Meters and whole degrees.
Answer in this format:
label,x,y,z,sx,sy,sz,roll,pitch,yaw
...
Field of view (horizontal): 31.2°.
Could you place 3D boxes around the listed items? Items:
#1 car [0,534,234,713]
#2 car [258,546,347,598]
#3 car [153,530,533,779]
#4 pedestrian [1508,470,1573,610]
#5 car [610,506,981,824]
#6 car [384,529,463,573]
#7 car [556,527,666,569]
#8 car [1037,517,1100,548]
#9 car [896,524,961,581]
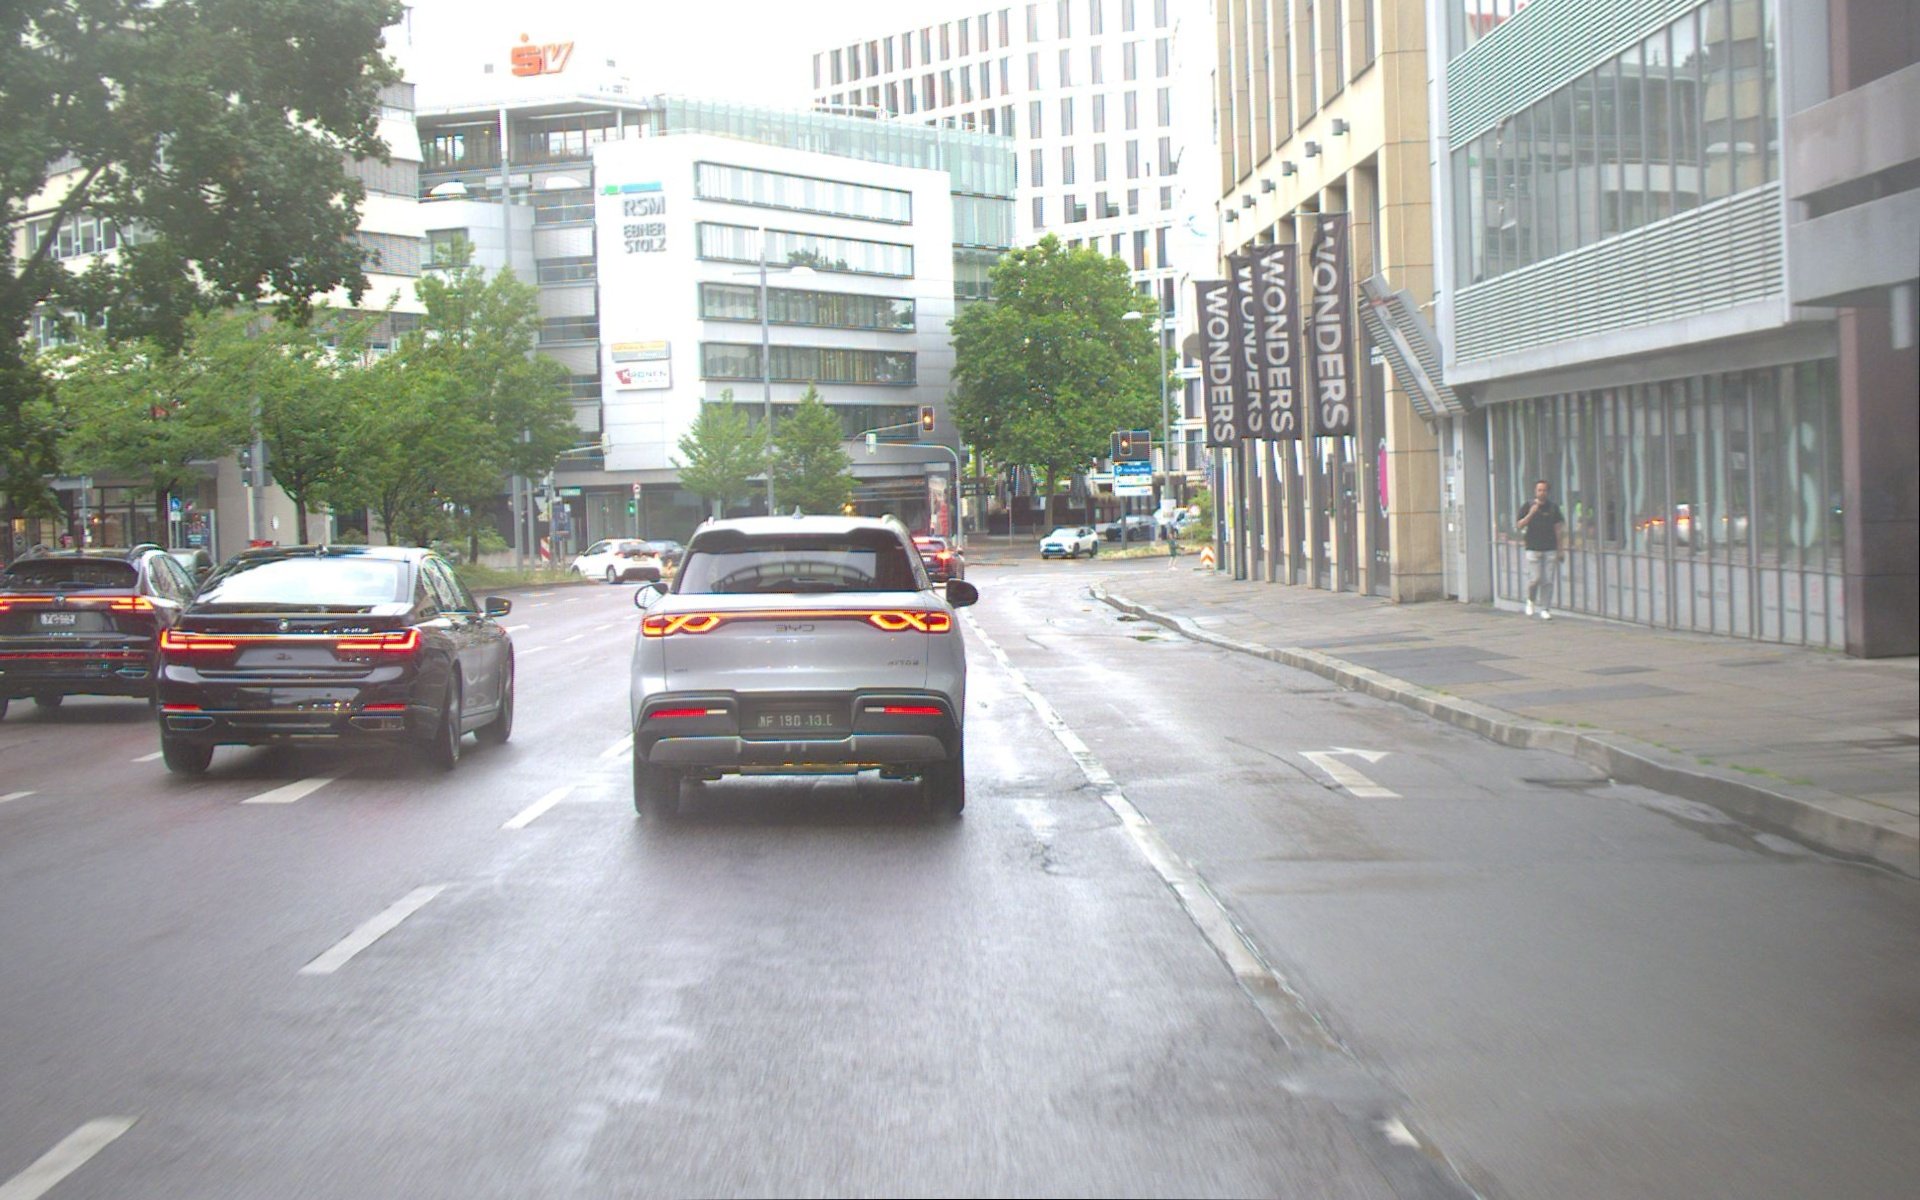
label,x,y,z,sx,sy,sz,roll,pitch,yaw
car,-7.695,0.182,30.861,1.774,1.452,4.001,-2,1,-5
car,-20.129,-0.874,105.408,1.623,1.487,4.306,-2,1,3
car,-4.141,0.292,23.836,1.872,1.474,4.879,0,2,-1
pedestrian,7.453,-0.766,44.165,0.635,1.766,0.790,-2,1,-1
car,-0.894,0.296,19.844,1.901,1.616,4.000,-1,1,-1
car,-18.705,-1.728,119.931,1.624,1.448,4.161,-2,1,7
car,-11.579,-1.719,113.969,1.654,1.337,3.999,-2,2,-40
car,5.692,-3.560,179.708,1.583,1.533,3.994,0,2,29
car,-0.943,-1.405,100.683,1.811,1.573,4.001,-1,1,-1
